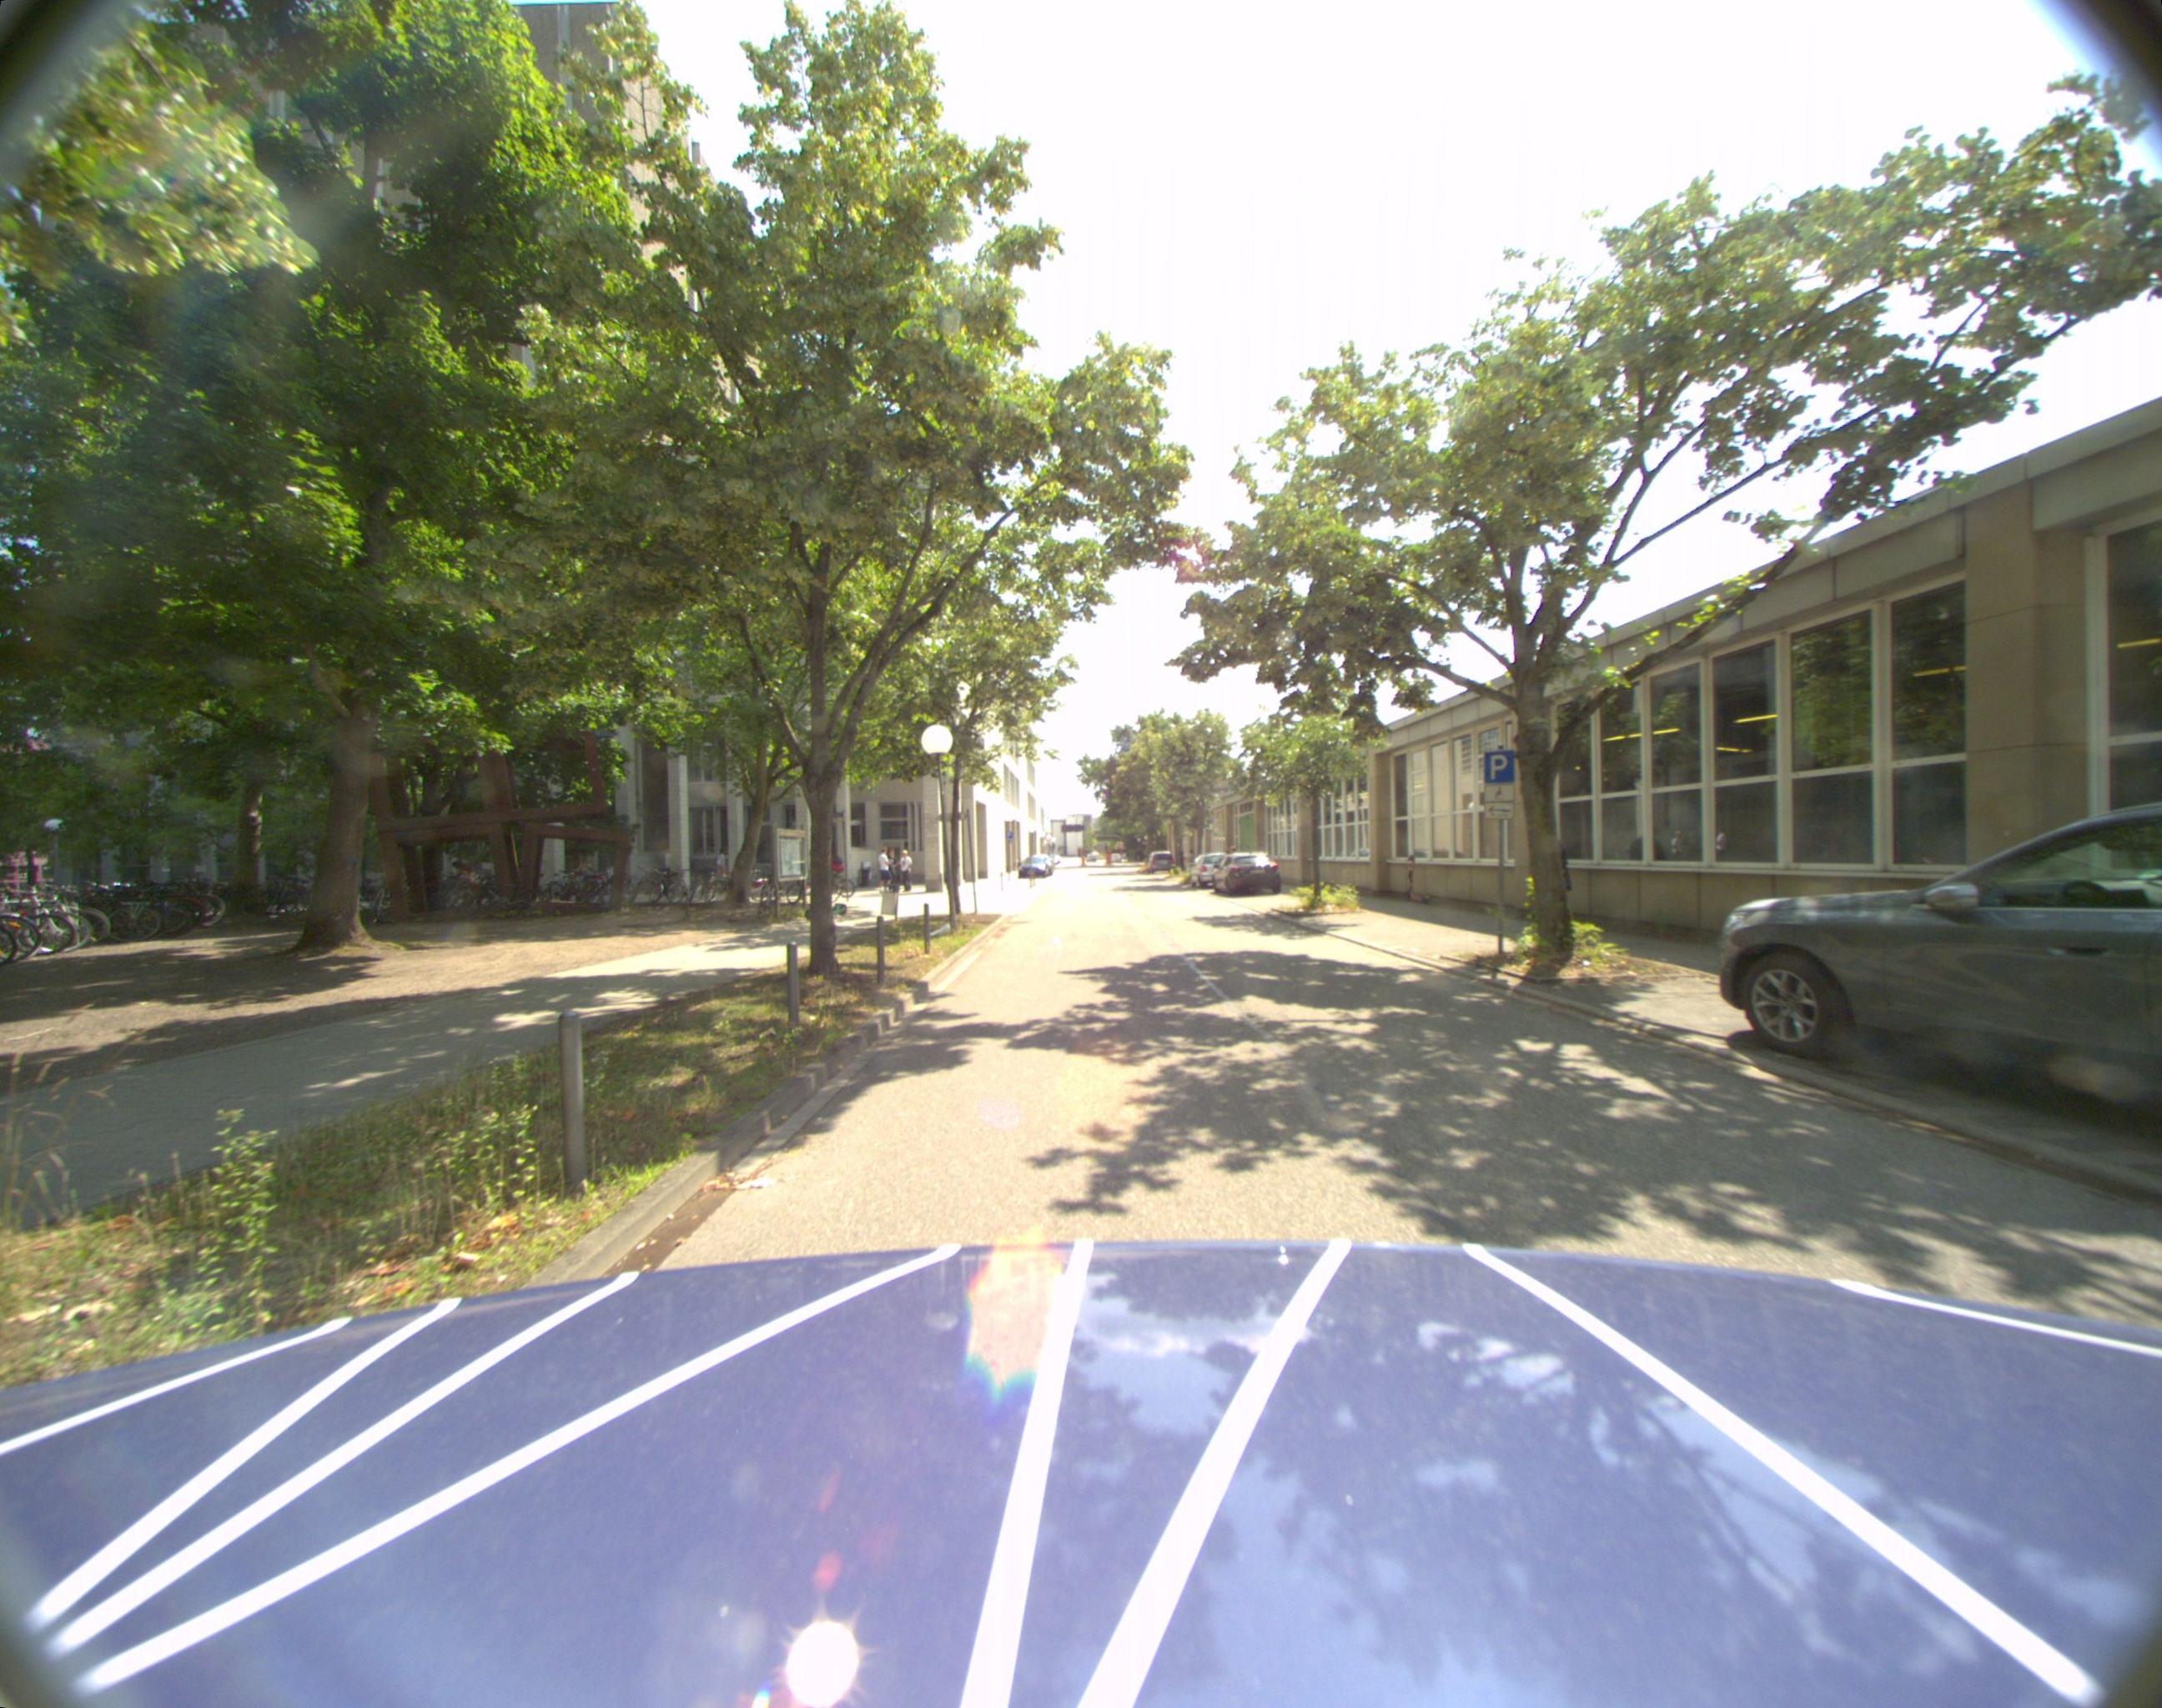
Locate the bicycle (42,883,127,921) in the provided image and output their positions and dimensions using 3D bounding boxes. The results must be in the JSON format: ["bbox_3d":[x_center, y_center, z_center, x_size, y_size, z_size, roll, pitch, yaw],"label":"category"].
[{"bbox_3d":[-31.223,1.475,23.839,0.478,1.077,1.688,-4,-1,-5],"label":"bicycle"}]

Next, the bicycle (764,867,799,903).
[{"bbox_3d":[-9.568,0.980,24.306,0.561,1.134,1.490,1,-1,-2],"label":"bicycle"}]

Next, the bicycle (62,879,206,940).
[{"bbox_3d":[-19.993,1.153,16.094,1.849,1.163,0.412,-1,0,-39],"label":"bicycle"}]

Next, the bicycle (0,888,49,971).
[{"bbox_3d":[-16.129,1.103,10.703,1.849,1.163,0.344,-1,0,-37],"label":"bicycle"}]

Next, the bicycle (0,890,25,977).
[{"bbox_3d":[-15.275,1.087,9.827,0.344,1.163,1.849,0,0,43],"label":"bicycle"}]

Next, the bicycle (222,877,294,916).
[{"bbox_3d":[-26.023,1.326,24.057,0.478,1.123,1.688,-4,-1,-5],"label":"bicycle"}]

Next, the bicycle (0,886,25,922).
[{"bbox_3d":[-35.251,1.622,24.312,0.551,1.143,1.688,-4,-1,-5],"label":"bicycle"}]

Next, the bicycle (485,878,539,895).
[{"bbox_3d":[-27.287,1.555,36.457,1.990,0.755,0.643,0,-1,-10],"label":"bicycle"}]

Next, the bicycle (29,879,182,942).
[{"bbox_3d":[-19.724,1.116,15.417,1.849,1.163,0.412,-1,0,-39],"label":"bicycle"}]

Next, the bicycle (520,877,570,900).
[{"bbox_3d":[-22.853,1.443,32.417,0.447,0.894,1.779,-2,0,19],"label":"bicycle"}]

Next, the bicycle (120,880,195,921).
[{"bbox_3d":[-26.100,1.297,21.510,0.352,1.077,1.471,-1,0,-3],"label":"bicycle"}]

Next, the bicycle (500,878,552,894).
[{"bbox_3d":[-27.200,1.565,37.254,1.990,0.755,0.643,0,-1,-10],"label":"bicycle"}]

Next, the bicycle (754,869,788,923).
[{"bbox_3d":[-7.260,0.949,17.779,0.629,1.078,1.684,-3,4,-23],"label":"bicycle"}]

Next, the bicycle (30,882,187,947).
[{"bbox_3d":[-19.139,1.162,15.015,1.849,1.163,0.412,-1,0,-39],"label":"bicycle"}]

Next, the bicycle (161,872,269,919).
[{"bbox_3d":[-23.193,1.089,20.388,1.849,1.163,0.412,-1,0,-39],"label":"bicycle"}]

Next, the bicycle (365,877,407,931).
[{"bbox_3d":[-15.674,1.100,17.159,0.476,1.103,1.665,-2,2,-36],"label":"bicycle"}]

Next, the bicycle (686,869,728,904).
[{"bbox_3d":[-11.981,1.022,24.394,0.481,1.079,1.516,0,-1,6],"label":"bicycle"}]

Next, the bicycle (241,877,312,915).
[{"bbox_3d":[-25.406,1.307,24.039,0.478,1.123,1.688,-4,-1,-5],"label":"bicycle"}]

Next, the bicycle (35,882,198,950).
[{"bbox_3d":[-18.195,1.148,14.391,1.848,1.163,0.387,-1,0,-36],"label":"bicycle"}]

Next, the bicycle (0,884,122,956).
[{"bbox_3d":[-17.938,1.125,13.009,1.848,1.163,0.352,-1,0,-36],"label":"bicycle"}]

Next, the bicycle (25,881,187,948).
[{"bbox_3d":[-18.668,1.137,14.605,1.849,1.163,0.387,-1,0,-39],"label":"bicycle"}]

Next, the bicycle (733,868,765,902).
[{"bbox_3d":[-10.745,0.986,24.632,0.460,1.079,1.440,1,-1,-2],"label":"bicycle"}]

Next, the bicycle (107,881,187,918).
[{"bbox_3d":[-29.363,1.413,23.930,0.478,1.077,1.688,-4,-1,-5],"label":"bicycle"}]

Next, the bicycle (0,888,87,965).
[{"bbox_3d":[-17.001,1.141,11.809,1.848,1.163,0.352,-1,0,-36],"label":"bicycle"}]

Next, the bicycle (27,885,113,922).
[{"bbox_3d":[-32.494,1.588,24.456,0.529,1.077,1.688,-4,-1,-5],"label":"bicycle"}]

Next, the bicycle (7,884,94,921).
[{"bbox_3d":[-33.026,1.547,24.380,0.529,1.077,1.688,-4,-1,-5],"label":"bicycle"}]

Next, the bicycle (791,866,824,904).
[{"bbox_3d":[-8.642,0.960,24.050,0.561,1.135,1.489,1,1,-2],"label":"bicycle"}]

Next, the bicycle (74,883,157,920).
[{"bbox_3d":[-30.319,1.475,23.900,0.478,1.077,1.688,-4,-1,-5],"label":"bicycle"}]

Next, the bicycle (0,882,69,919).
[{"bbox_3d":[-33.740,1.484,24.200,0.528,1.077,1.690,-4,-1,11],"label":"bicycle"}]

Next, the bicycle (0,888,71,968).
[{"bbox_3d":[-16.530,1.129,11.257,1.848,1.163,0.344,-1,0,-36],"label":"bicycle"}]

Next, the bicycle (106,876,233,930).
[{"bbox_3d":[-21.428,1.126,17.918,1.849,1.163,0.412,-1,0,-39],"label":"bicycle"}]

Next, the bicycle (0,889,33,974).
[{"bbox_3d":[-15.539,1.082,10.091,0.344,1.163,1.849,0,0,43],"label":"bicycle"}]

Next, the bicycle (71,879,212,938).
[{"bbox_3d":[-20.305,1.147,16.479,1.849,1.163,0.412,-1,0,-39],"label":"bicycle"}]

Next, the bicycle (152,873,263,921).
[{"bbox_3d":[-22.740,1.099,19.831,1.849,1.163,0.412,-1,0,-39],"label":"bicycle"}]

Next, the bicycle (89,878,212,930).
[{"bbox_3d":[-22.584,1.189,18.497,1.849,1.163,0.345,-1,0,-44],"label":"bicycle"}]

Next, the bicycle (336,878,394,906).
[{"bbox_3d":[-29.887,1.574,31.733,1.832,1.097,0.570,-2,-1,-2],"label":"bicycle"}]

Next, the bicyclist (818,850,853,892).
[{"bbox_3d":[-9.139,0.634,28.329,0.958,1.533,0.839,0,-2,7],"label":"bicyclist"}]

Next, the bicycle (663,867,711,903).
[{"bbox_3d":[-12.475,0.974,24.110,0.481,1.079,1.697,0,-1,6],"label":"bicycle"}]

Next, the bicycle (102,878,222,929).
[{"bbox_3d":[-22.729,1.202,18.842,1.849,1.163,0.345,-1,0,-44],"label":"bicycle"}]

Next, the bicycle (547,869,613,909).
[{"bbox_3d":[-14.181,0.974,21.566,0.463,1.071,1.829,0,-1,8],"label":"bicycle"}]

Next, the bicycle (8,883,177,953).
[{"bbox_3d":[-18.112,1.147,13.976,1.848,1.163,0.352,-1,0,-36],"label":"bicycle"}]

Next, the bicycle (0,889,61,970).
[{"bbox_3d":[-16.332,1.132,10.983,1.848,1.163,0.344,-1,0,-36],"label":"bicycle"}]

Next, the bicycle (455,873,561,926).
[{"bbox_3d":[-13.479,1.049,17.927,1.928,1.103,0.631,-2,2,-36],"label":"bicycle"}]

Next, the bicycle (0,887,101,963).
[{"bbox_3d":[-17.189,1.138,12.134,1.848,1.163,0.352,-1,0,-36],"label":"bicycle"}]

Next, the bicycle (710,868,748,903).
[{"bbox_3d":[-11.220,0.986,24.267,0.460,1.079,1.474,1,-1,2],"label":"bicycle"}]

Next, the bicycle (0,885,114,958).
[{"bbox_3d":[-17.724,1.129,12.723,1.848,1.163,0.352,-1,0,-36],"label":"bicycle"}]

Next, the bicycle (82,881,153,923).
[{"bbox_3d":[-27.173,1.329,21.457,0.353,1.077,1.470,-1,0,-12],"label":"bicycle"}]

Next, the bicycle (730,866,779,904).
[{"bbox_3d":[-10.308,0.968,24.007,0.491,1.134,1.529,0,-1,20],"label":"bicycle"}]

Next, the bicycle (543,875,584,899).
[{"bbox_3d":[-22.019,1.398,32.335,0.337,0.894,1.777,-2,1,6],"label":"bicycle"}]

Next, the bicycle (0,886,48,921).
[{"bbox_3d":[-34.482,1.596,24.322,0.529,1.077,1.688,-4,-1,-5],"label":"bicycle"}]
